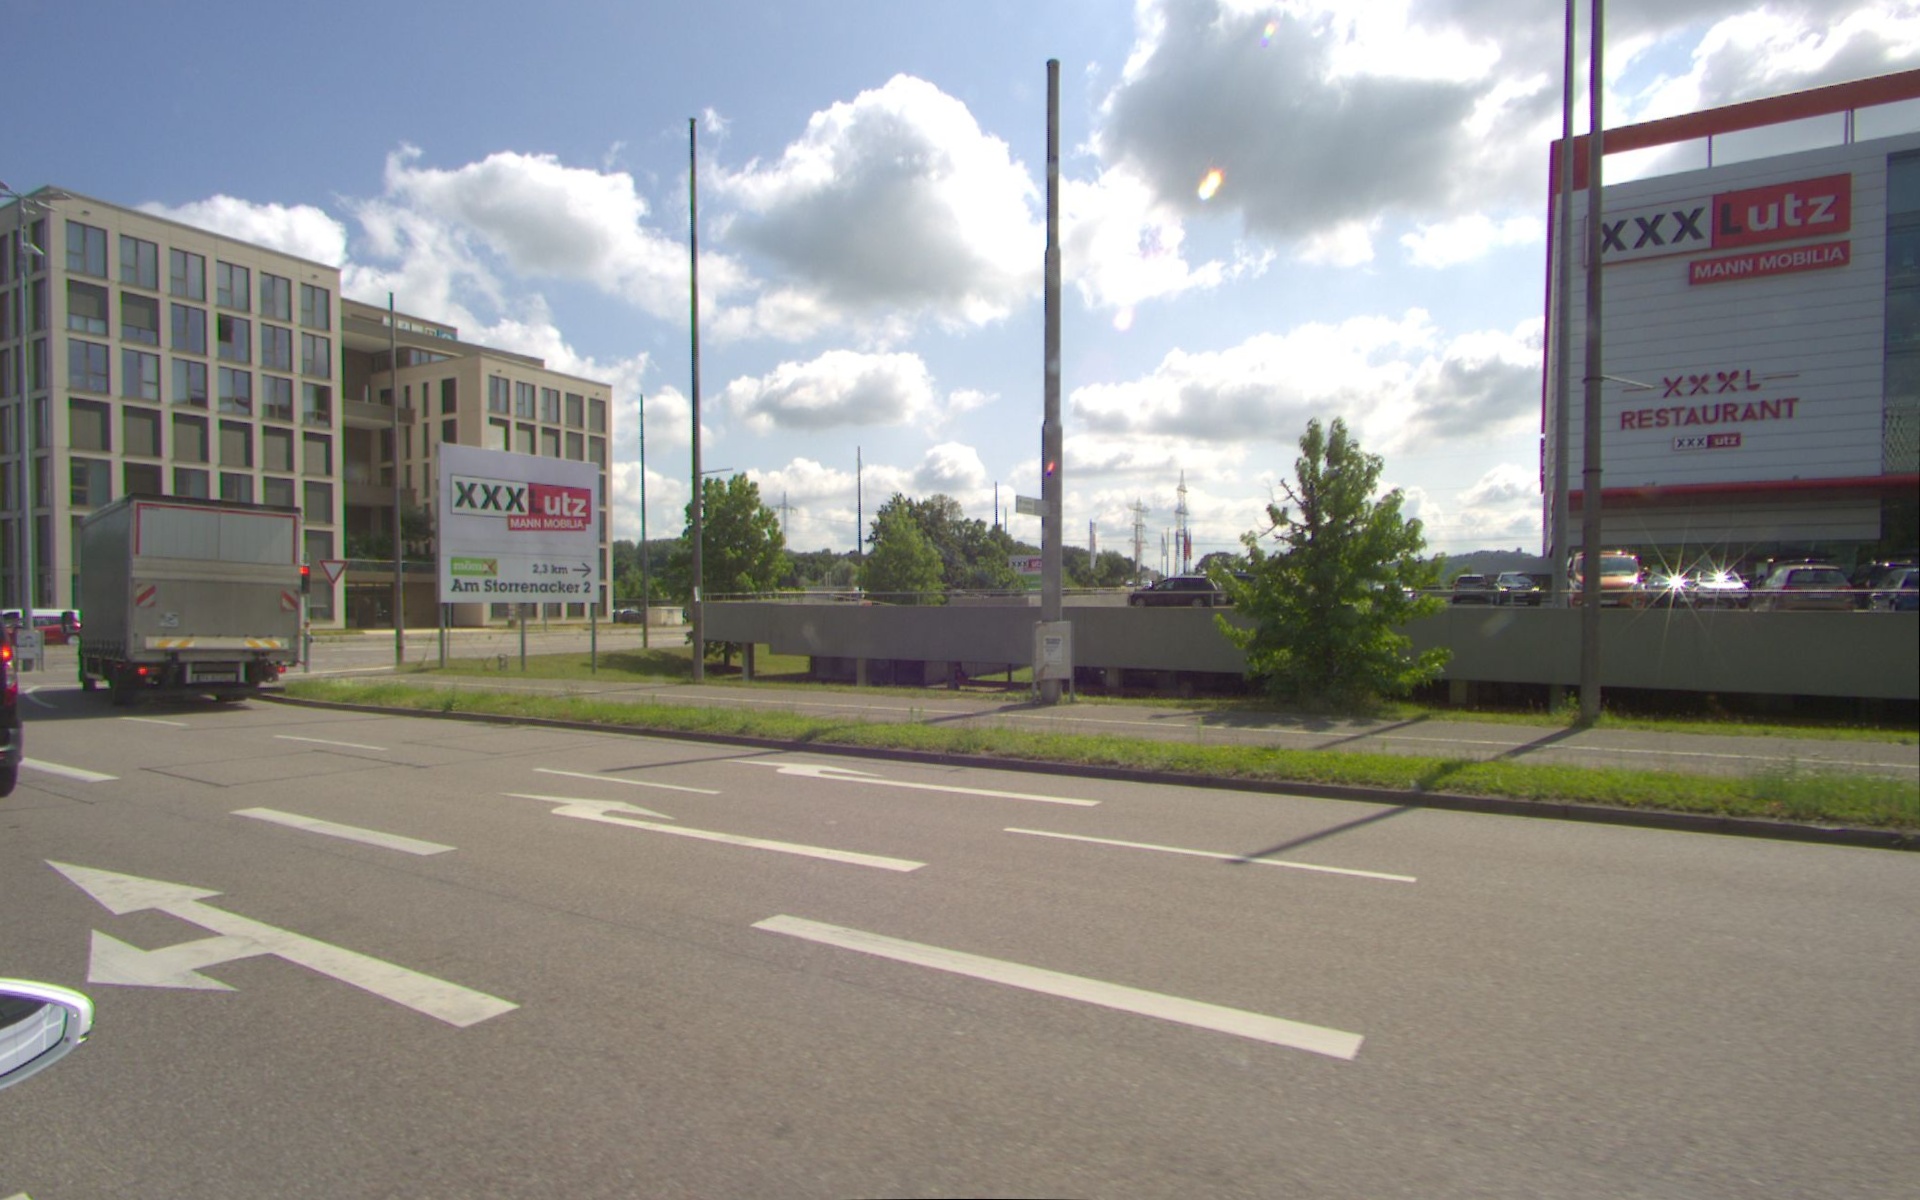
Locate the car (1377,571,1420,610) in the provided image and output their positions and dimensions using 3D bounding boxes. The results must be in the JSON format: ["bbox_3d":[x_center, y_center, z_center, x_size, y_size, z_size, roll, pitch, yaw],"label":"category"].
[{"bbox_3d":[19.476,-0.376,44.408,1.608,1.596,3.897,1,-1,26],"label":"car"}]

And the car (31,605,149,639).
[{"bbox_3d":[-41.093,1.033,47.376,1.768,1.509,3.888,1,-1,31],"label":"car"}]

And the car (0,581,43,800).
[{"bbox_3d":[-9.994,0.748,8.994,3.947,1.832,1.815,0,-2,36],"label":"car"}]

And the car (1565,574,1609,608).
[{"bbox_3d":[27.919,-0.372,44.672,1.561,1.429,3.520,1,-1,31],"label":"car"}]

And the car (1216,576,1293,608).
[{"bbox_3d":[16.915,-0.470,57.574,3.937,1.751,1.993,1,-1,28],"label":"car"}]

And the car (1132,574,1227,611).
[{"bbox_3d":[9.804,-0.332,44.777,3.807,1.541,1.869,0,-1,28],"label":"car"}]

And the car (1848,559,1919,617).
[{"bbox_3d":[27.125,-0.286,28.294,1.956,1.503,4.863,-1,-1,29],"label":"car"}]

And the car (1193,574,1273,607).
[{"bbox_3d":[14.465,-0.494,53.101,3.807,1.621,1.742,1,-1,28],"label":"car"}]

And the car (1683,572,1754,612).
[{"bbox_3d":[32.085,-0.292,42.486,1.971,1.563,3.981,1,-1,31],"label":"car"}]

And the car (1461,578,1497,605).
[{"bbox_3d":[29.200,-0.461,56.252,1.683,1.438,3.893,1,-1,29],"label":"car"}]

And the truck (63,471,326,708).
[{"bbox_3d":[-16.350,-0.141,21.053,8.763,3.992,3.112,0,-1,44],"label":"truck"}]

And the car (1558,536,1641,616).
[{"bbox_3d":[20.301,-0.649,31.946,1.957,2.223,5.156,-1,-2,30],"label":"car"}]

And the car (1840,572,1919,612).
[{"bbox_3d":[36.339,-0.290,39.605,1.611,1.461,3.891,1,-1,31],"label":"car"}]

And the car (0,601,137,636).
[{"bbox_3d":[-44.312,0.905,49.738,1.970,1.628,4.977,1,-1,30],"label":"car"}]

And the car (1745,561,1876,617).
[{"bbox_3d":[24.857,-0.254,29.476,1.956,1.473,4.863,-1,-1,29],"label":"car"}]

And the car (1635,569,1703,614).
[{"bbox_3d":[27.149,-0.287,38.458,1.609,1.596,3.894,1,-1,28],"label":"car"}]

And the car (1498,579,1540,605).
[{"bbox_3d":[28.172,-0.391,50.432,1.671,1.199,3.890,1,-1,32],"label":"car"}]
